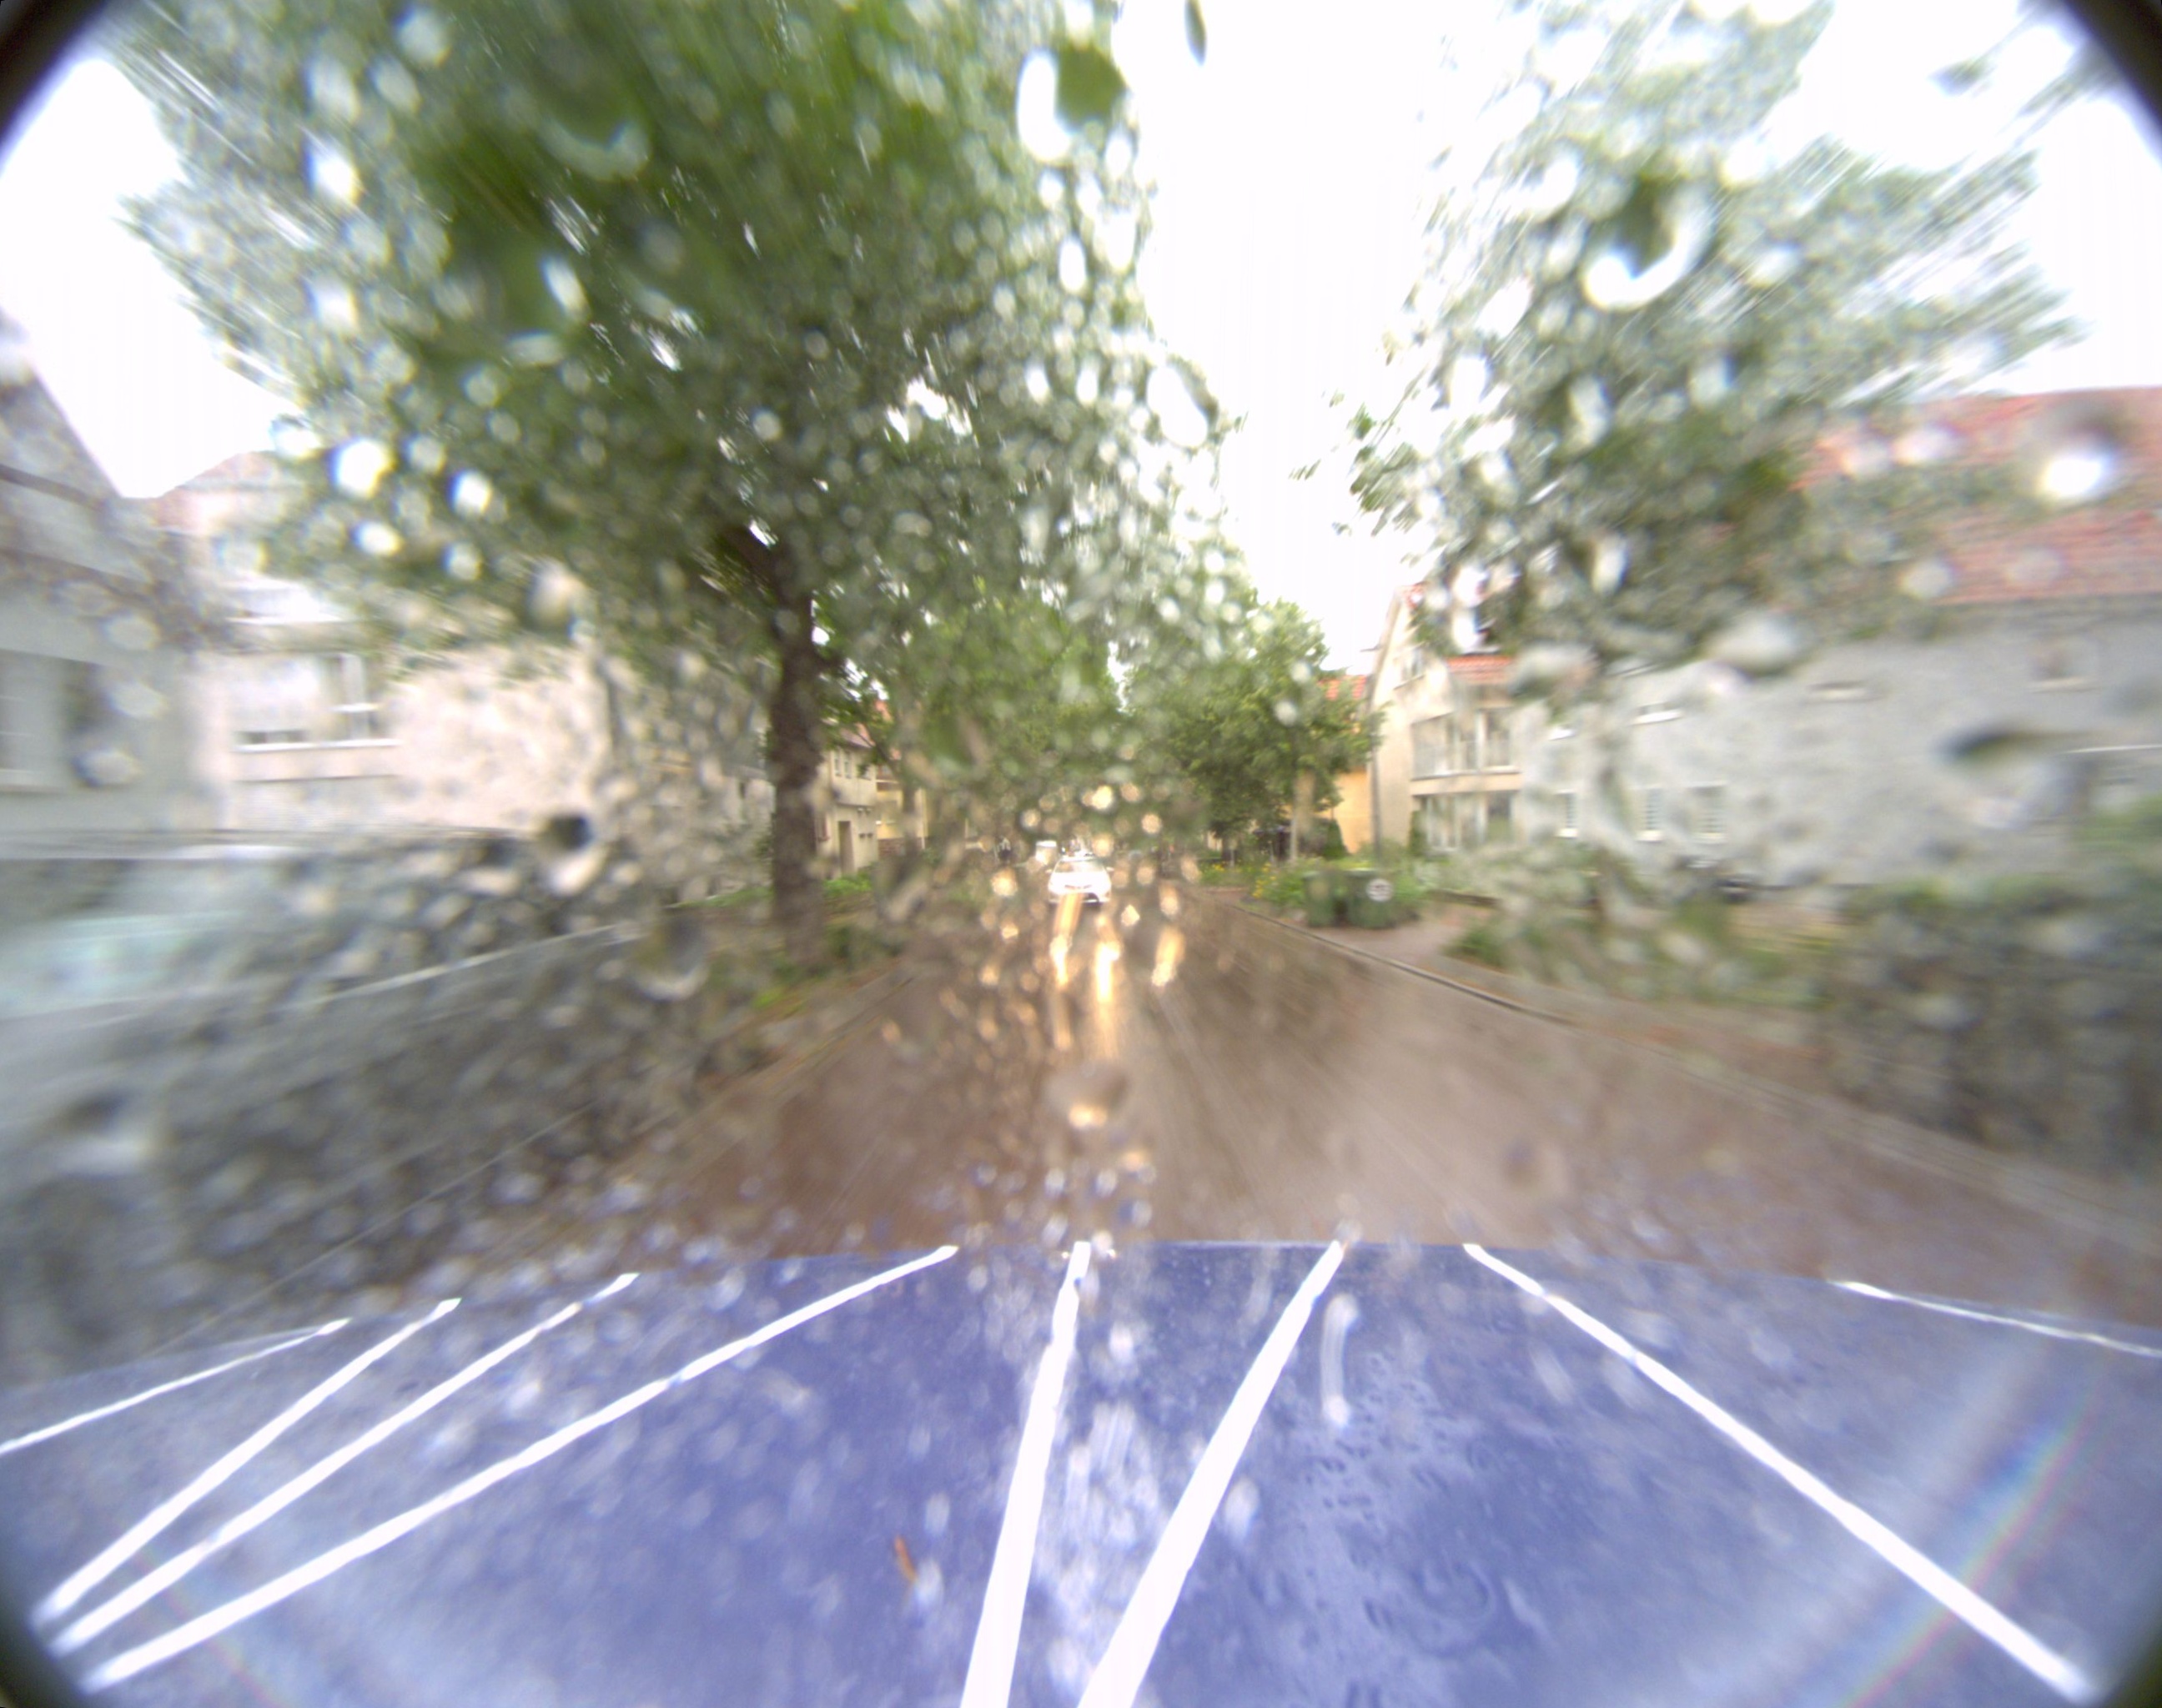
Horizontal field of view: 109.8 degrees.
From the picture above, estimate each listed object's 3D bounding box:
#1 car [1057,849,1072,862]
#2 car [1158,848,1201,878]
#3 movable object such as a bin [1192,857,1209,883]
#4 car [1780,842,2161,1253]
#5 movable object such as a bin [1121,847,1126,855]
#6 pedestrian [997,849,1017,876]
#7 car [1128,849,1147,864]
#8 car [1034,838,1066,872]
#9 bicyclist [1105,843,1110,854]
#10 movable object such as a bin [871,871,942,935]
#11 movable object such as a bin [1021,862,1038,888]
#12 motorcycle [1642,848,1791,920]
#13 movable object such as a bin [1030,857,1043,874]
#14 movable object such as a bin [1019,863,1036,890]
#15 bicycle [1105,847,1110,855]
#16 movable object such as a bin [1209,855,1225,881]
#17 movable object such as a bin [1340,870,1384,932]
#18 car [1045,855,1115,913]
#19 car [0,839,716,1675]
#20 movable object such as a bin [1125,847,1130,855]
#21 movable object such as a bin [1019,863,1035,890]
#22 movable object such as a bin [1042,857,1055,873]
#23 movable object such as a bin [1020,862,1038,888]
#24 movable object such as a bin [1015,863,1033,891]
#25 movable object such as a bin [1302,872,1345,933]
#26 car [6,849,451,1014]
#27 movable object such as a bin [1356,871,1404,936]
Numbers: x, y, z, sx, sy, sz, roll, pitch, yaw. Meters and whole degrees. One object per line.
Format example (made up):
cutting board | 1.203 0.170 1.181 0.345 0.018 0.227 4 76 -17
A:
car | -1.894 0.146 89.360 1.685 1.391 3.794 -2 1 0
car | 5.226 0.435 40.651 1.776 1.381 4.545 -4 0 2
movable object such as a bin | 5.191 0.699 33.130 0.596 1.056 0.545 -5 0 4
car | 4.976 0.748 2.608 1.651 1.524 3.866 -3 0 3
movable object such as a bin | 5.692 -0.349 101.943 0.665 1.061 0.596 -1 2 5
pedestrian | -4.609 0.503 47.512 0.955 1.642 0.794 -1 2 14
car | 5.735 0.263 77.493 1.754 1.388 3.795 -3 1 1
car | -2.394 0.020 59.870 2.146 2.446 5.434 -3 1 1
bicyclist | 4.043 -0.832 114.548 0.629 1.721 0.880 -3 1 0
movable object such as a bin | -3.852 1.057 16.853 1.227 1.308 1.134 -2 1 3
movable object such as a bin | -2.228 0.899 33.112 0.690 1.076 0.540 -3 1 -3
motorcycle | 11.587 0.534 13.896 1.987 1.155 0.818 -3 1 1
movable object such as a bin | -3.055 0.786 52.046 0.750 1.069 0.878 -3 1 0
movable object such as a bin | -2.212 0.936 31.355 0.632 1.076 0.471 -3 1 -3
bicycle | 4.052 -0.501 114.520 0.629 1.202 1.981 -3 1 0
movable object such as a bin | 5.938 0.605 33.208 0.596 1.056 0.545 -3 1 4
movable object such as a bin | 5.221 0.871 14.140 0.612 1.104 0.564 -2 0 2
car | 0.057 0.818 22.587 1.828 1.451 3.875 -3 0 3
car | -3.303 0.904 2.558 1.919 1.782 4.488 -3 0 0
movable object such as a bin | 6.248 -0.388 102.595 0.665 1.068 0.596 -1 2 5
movable object such as a bin | -2.272 0.935 31.908 0.611 1.076 0.513 -3 1 -3
movable object such as a bin | -2.228 0.751 51.798 0.799 1.069 0.878 -3 1 0
movable object such as a bin | -2.226 0.894 32.503 0.690 1.076 0.540 -2 1 -3
movable object such as a bin | -2.300 0.931 30.664 0.645 1.076 0.540 -3 1 -3
movable object such as a bin | 4.576 0.899 14.361 0.644 1.104 0.536 -2 0 2
car | -13.067 1.107 11.913 4.472 1.889 1.999 -6 1 0
movable object such as a bin | 5.307 0.861 13.518 0.612 1.104 0.564 -2 0 2
